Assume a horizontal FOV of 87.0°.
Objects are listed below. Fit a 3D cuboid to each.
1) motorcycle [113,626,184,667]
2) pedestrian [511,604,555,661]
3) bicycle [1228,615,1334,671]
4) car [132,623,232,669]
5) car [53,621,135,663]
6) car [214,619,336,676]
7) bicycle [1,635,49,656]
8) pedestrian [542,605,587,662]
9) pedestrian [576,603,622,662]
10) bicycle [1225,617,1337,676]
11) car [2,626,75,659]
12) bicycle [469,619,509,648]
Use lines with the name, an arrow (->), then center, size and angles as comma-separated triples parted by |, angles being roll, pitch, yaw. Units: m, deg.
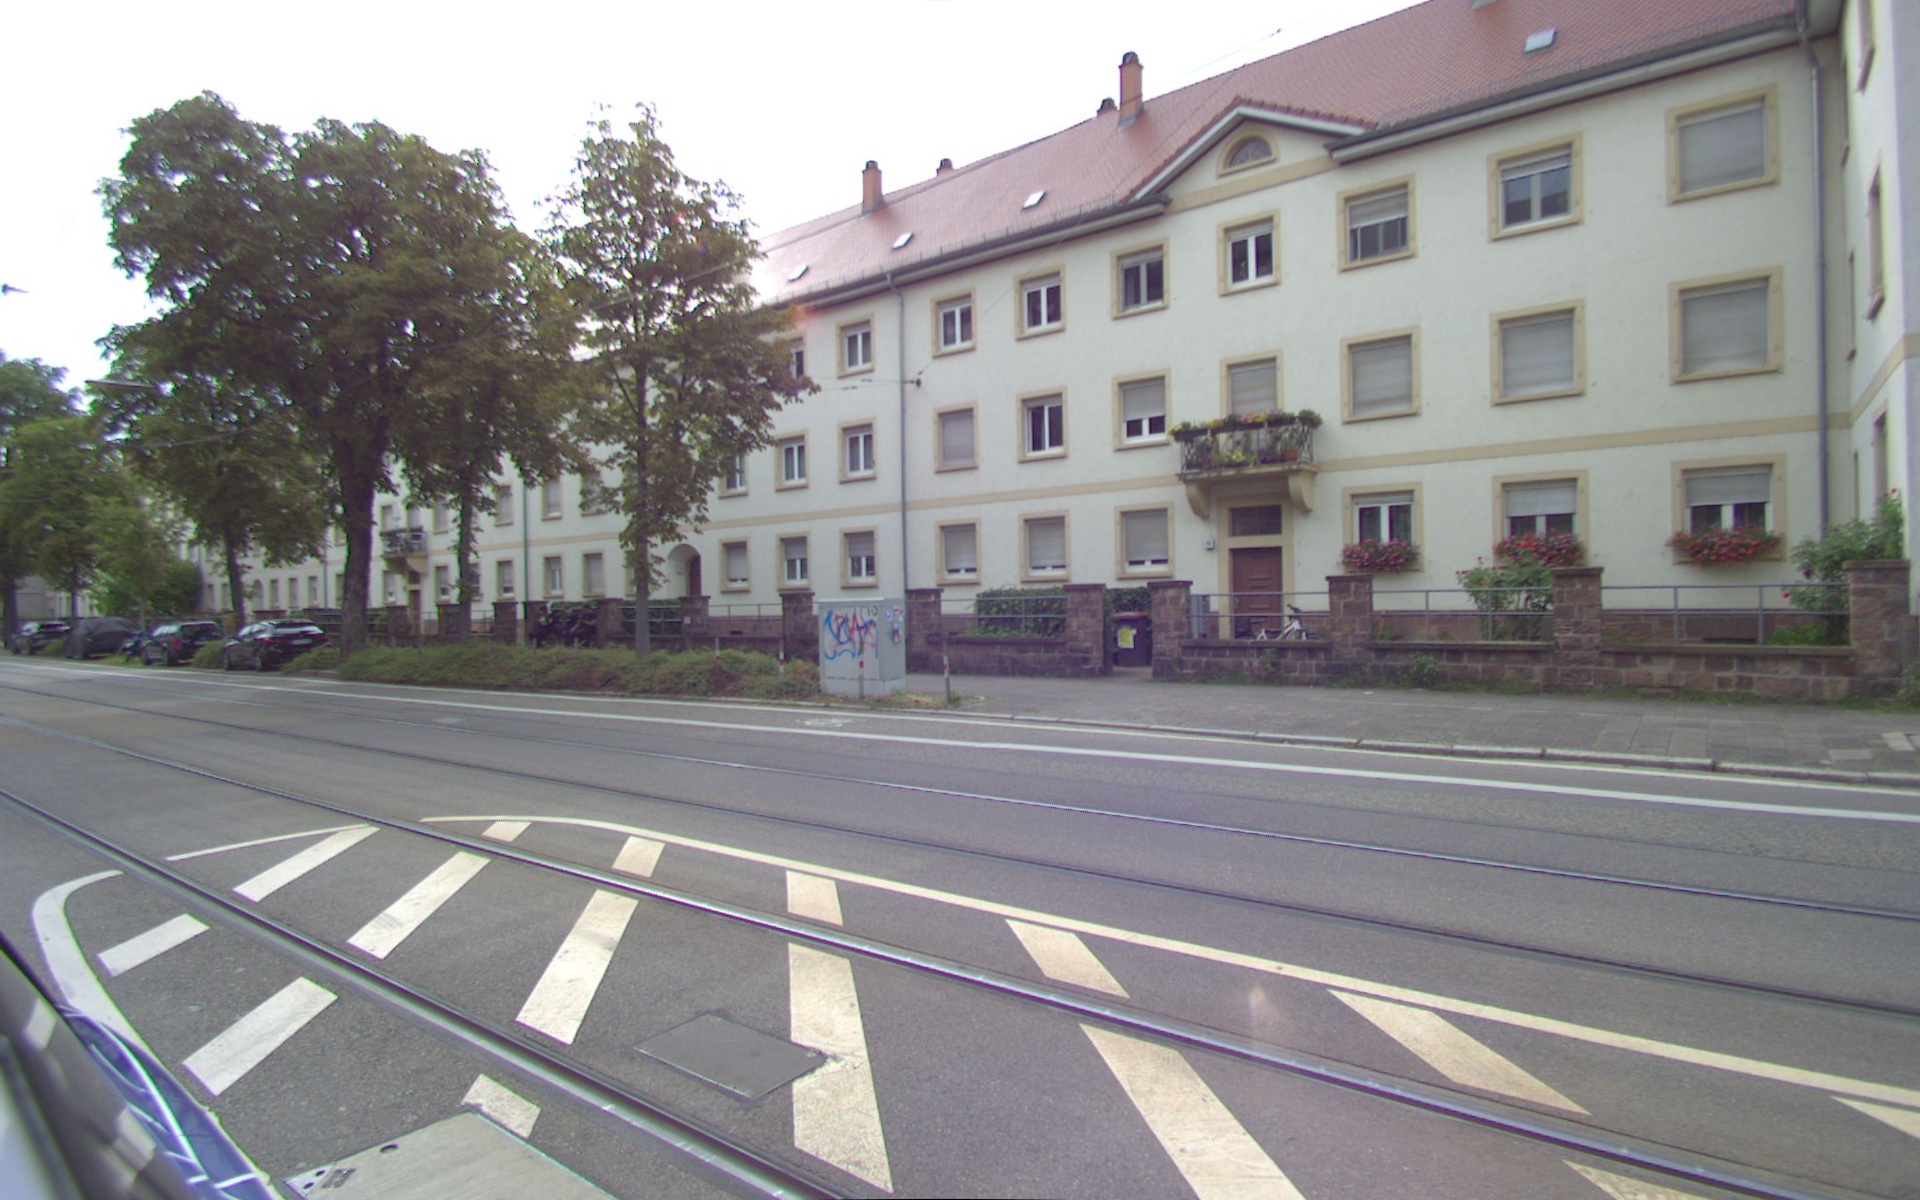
motorcycle -> -29.847, 1.694, 37.240 | 0.590, 1.269, 1.852 | -2, 5, 34
pedestrian -> -11.746, 0.887, 27.858 | 0.730, 1.524, 0.826 | -2, -1, 33
bicycle -> 5.528, 0.736, 17.496 | 1.670, 0.922, 0.473 | -2, -1, 38
car -> -26.833, 1.557, 34.867 | 4.294, 1.434, 1.681 | -2, 1, 38
car -> -35.853, 1.717, 41.858 | 4.294, 1.624, 1.768 | -2, -1, 38
car -> -20.242, 1.369, 29.844 | 4.294, 1.434, 1.681 | -2, 2, 38
bicycle -> -46.698, 2.274, 50.554 | 0.670, 0.978, 1.656 | -2, -1, 29
pedestrian -> -10.503, 0.872, 26.880 | 0.730, 1.476, 0.826 | -2, -1, 33
pedestrian -> -9.305, 0.833, 26.109 | 0.730, 1.476, 0.826 | -2, -1, 33
bicycle -> 5.219, 0.750, 16.516 | 1.670, 0.922, 0.473 | -2, -1, 38
car -> -43.270, 1.980, 47.503 | 4.291, 1.481, 1.682 | -2, -1, 36
bicycle -> -14.594, 1.038, 31.344 | 1.548, 0.869, 0.503 | -2, -1, 38
